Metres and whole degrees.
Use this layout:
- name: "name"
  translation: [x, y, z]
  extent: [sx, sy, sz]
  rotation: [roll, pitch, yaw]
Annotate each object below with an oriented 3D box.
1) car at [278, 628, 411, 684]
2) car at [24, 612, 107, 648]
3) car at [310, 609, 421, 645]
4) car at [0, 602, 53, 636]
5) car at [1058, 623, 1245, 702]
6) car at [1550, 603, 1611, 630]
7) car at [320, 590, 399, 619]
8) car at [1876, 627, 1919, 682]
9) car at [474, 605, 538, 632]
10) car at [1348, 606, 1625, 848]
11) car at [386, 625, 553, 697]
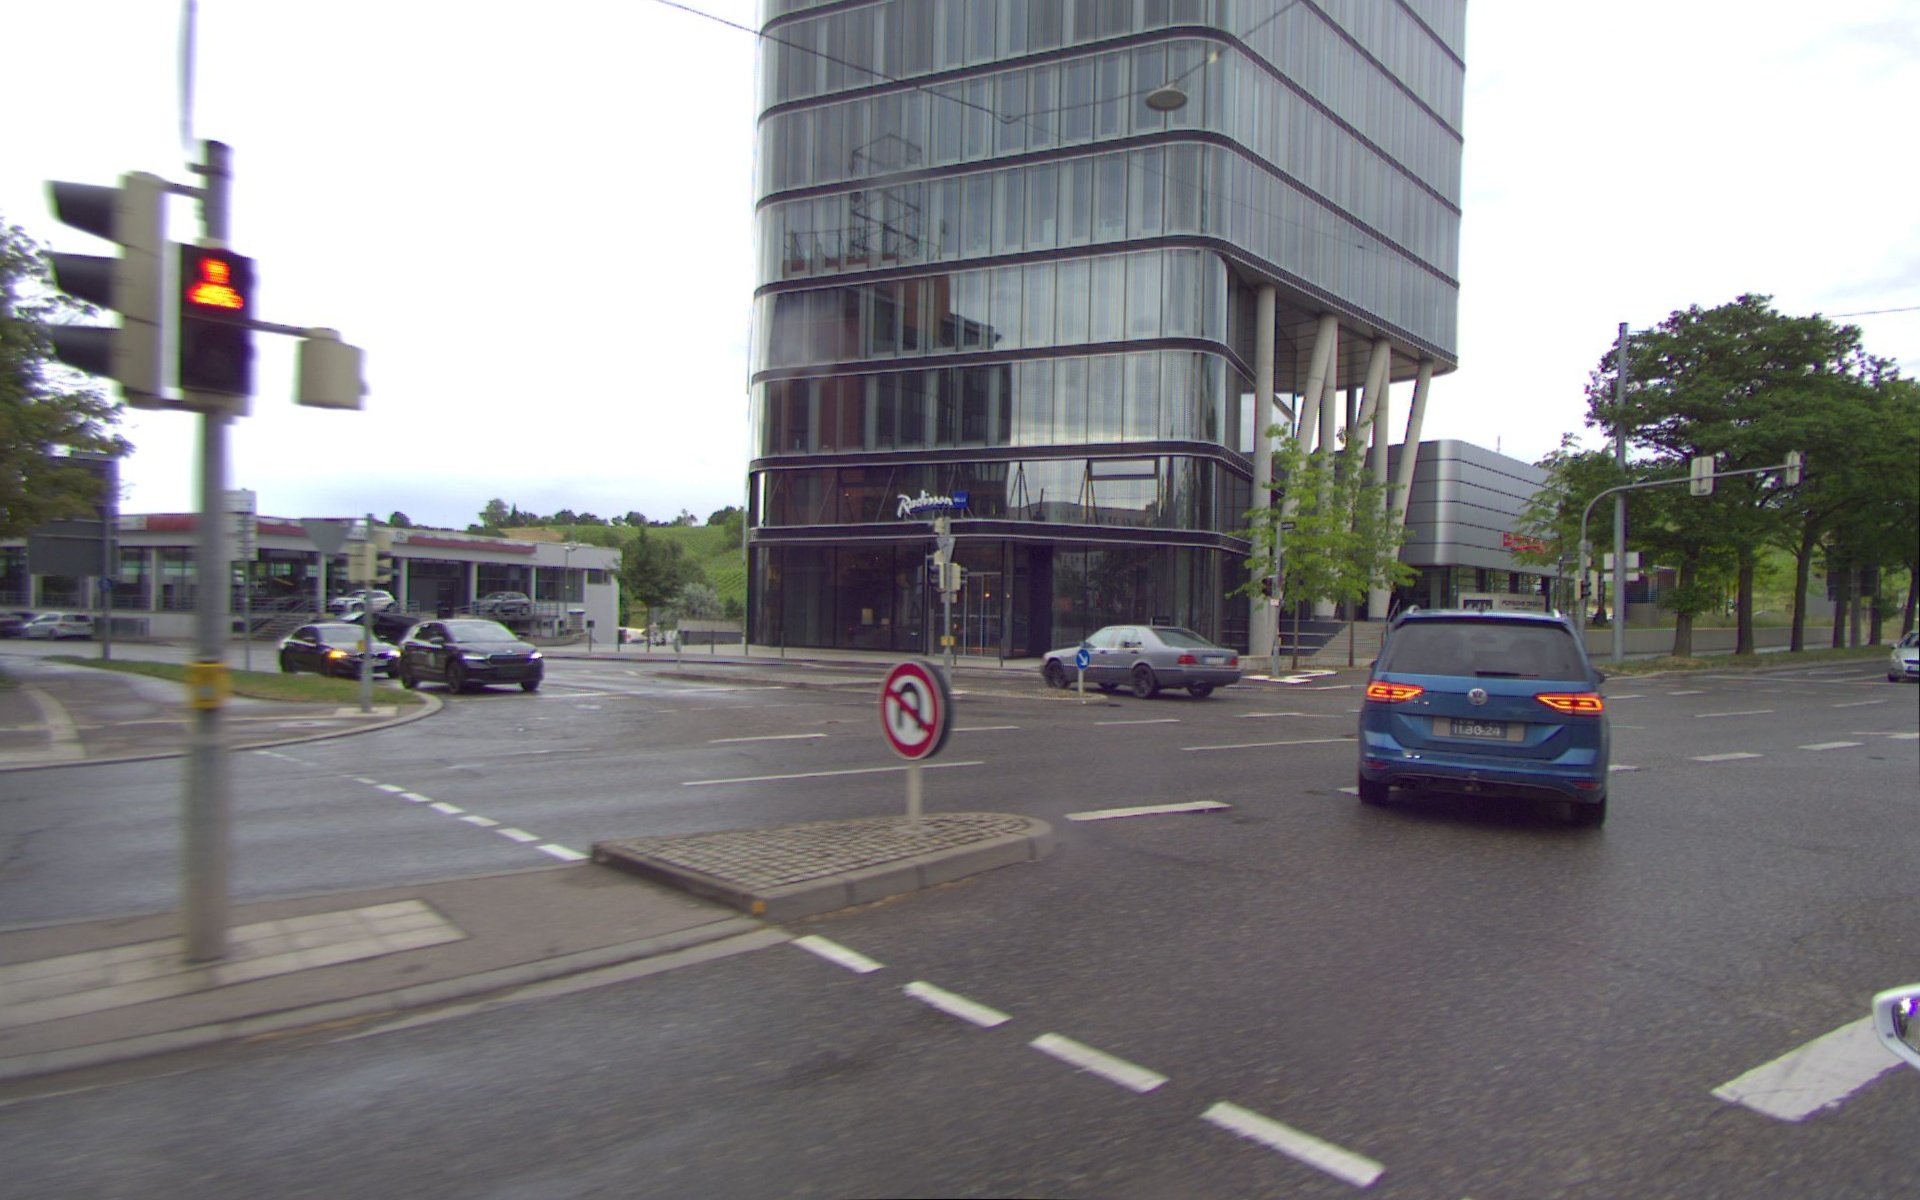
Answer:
- name: "car"
  translation: [-16.733, 1.473, 27.273]
  extent: [3.938, 1.380, 1.845]
  rotation: [-1, -2, 39]
- name: "car"
  translation: [-50.395, 1.662, 56.580]
  extent: [3.923, 1.929, 1.999]
  rotation: [0, -1, 23]
- name: "car"
  translation: [-32.137, 1.482, 54.510]
  extent: [1.765, 1.839, 4.997]
  rotation: [0, -2, 27]
- name: "car"
  translation: [-55.035, 1.074, 58.370]
  extent: [3.923, 1.929, 1.999]
  rotation: [0, -1, 23]
- name: "car"
  translation: [4.056, 1.289, 21.894]
  extent: [1.831, 1.530, 4.015]
  rotation: [2, -2, -30]
- name: "car"
  translation: [49.011, 1.295, 79.394]
  extent: [3.938, 2.040, 1.991]
  rotation: [0, -1, 39]
- name: "car"
  translation: [-36.711, 0.274, 61.450]
  extent: [1.782, 1.672, 3.815]
  rotation: [0, -2, 23]
- name: "car"
  translation: [28.904, 1.591, 29.866]
  extent: [3.779, 1.540, 1.738]
  rotation: [1, -1, -36]
- name: "car"
  translation: [-31.858, 1.330, 70.592]
  extent: [1.765, 1.874, 3.999]
  rotation: [0, -1, 23]
- name: "car"
  translation: [4.746, 0.917, 9.019]
  extent: [1.746, 1.617, 4.190]
  rotation: [0, -1, 30]
- name: "car"
  translation: [-11.387, 1.343, 23.226]
  extent: [4.306, 1.530, 1.848]
  rotation: [-1, -2, 39]
